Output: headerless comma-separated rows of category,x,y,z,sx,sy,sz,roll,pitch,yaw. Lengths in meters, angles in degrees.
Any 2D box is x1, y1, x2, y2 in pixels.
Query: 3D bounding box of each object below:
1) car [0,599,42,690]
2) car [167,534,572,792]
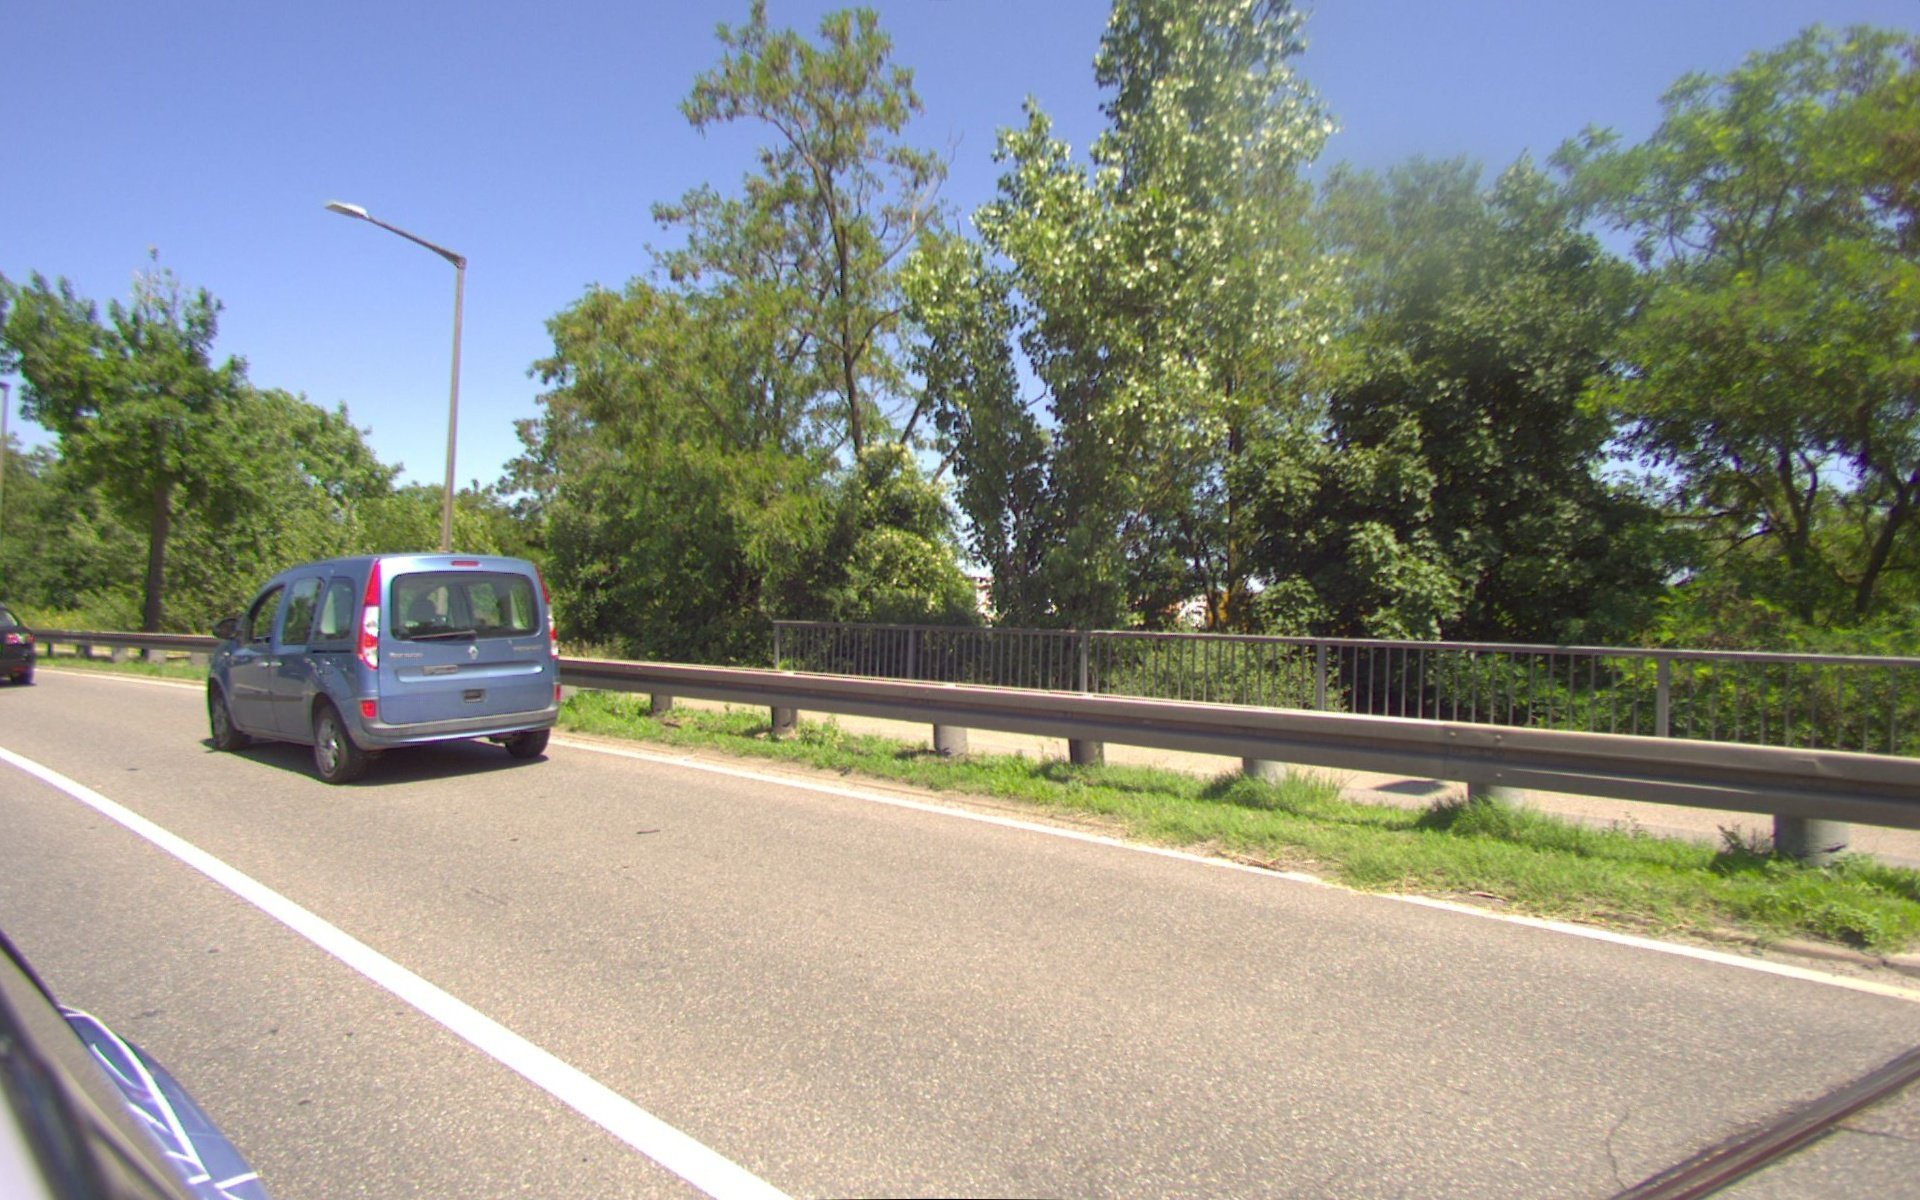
car,-17.516,0.723,17.260,4.556,1.453,1.742,0,1,34
car,-5.548,0.437,9.301,4.268,1.869,1.740,0,1,38
